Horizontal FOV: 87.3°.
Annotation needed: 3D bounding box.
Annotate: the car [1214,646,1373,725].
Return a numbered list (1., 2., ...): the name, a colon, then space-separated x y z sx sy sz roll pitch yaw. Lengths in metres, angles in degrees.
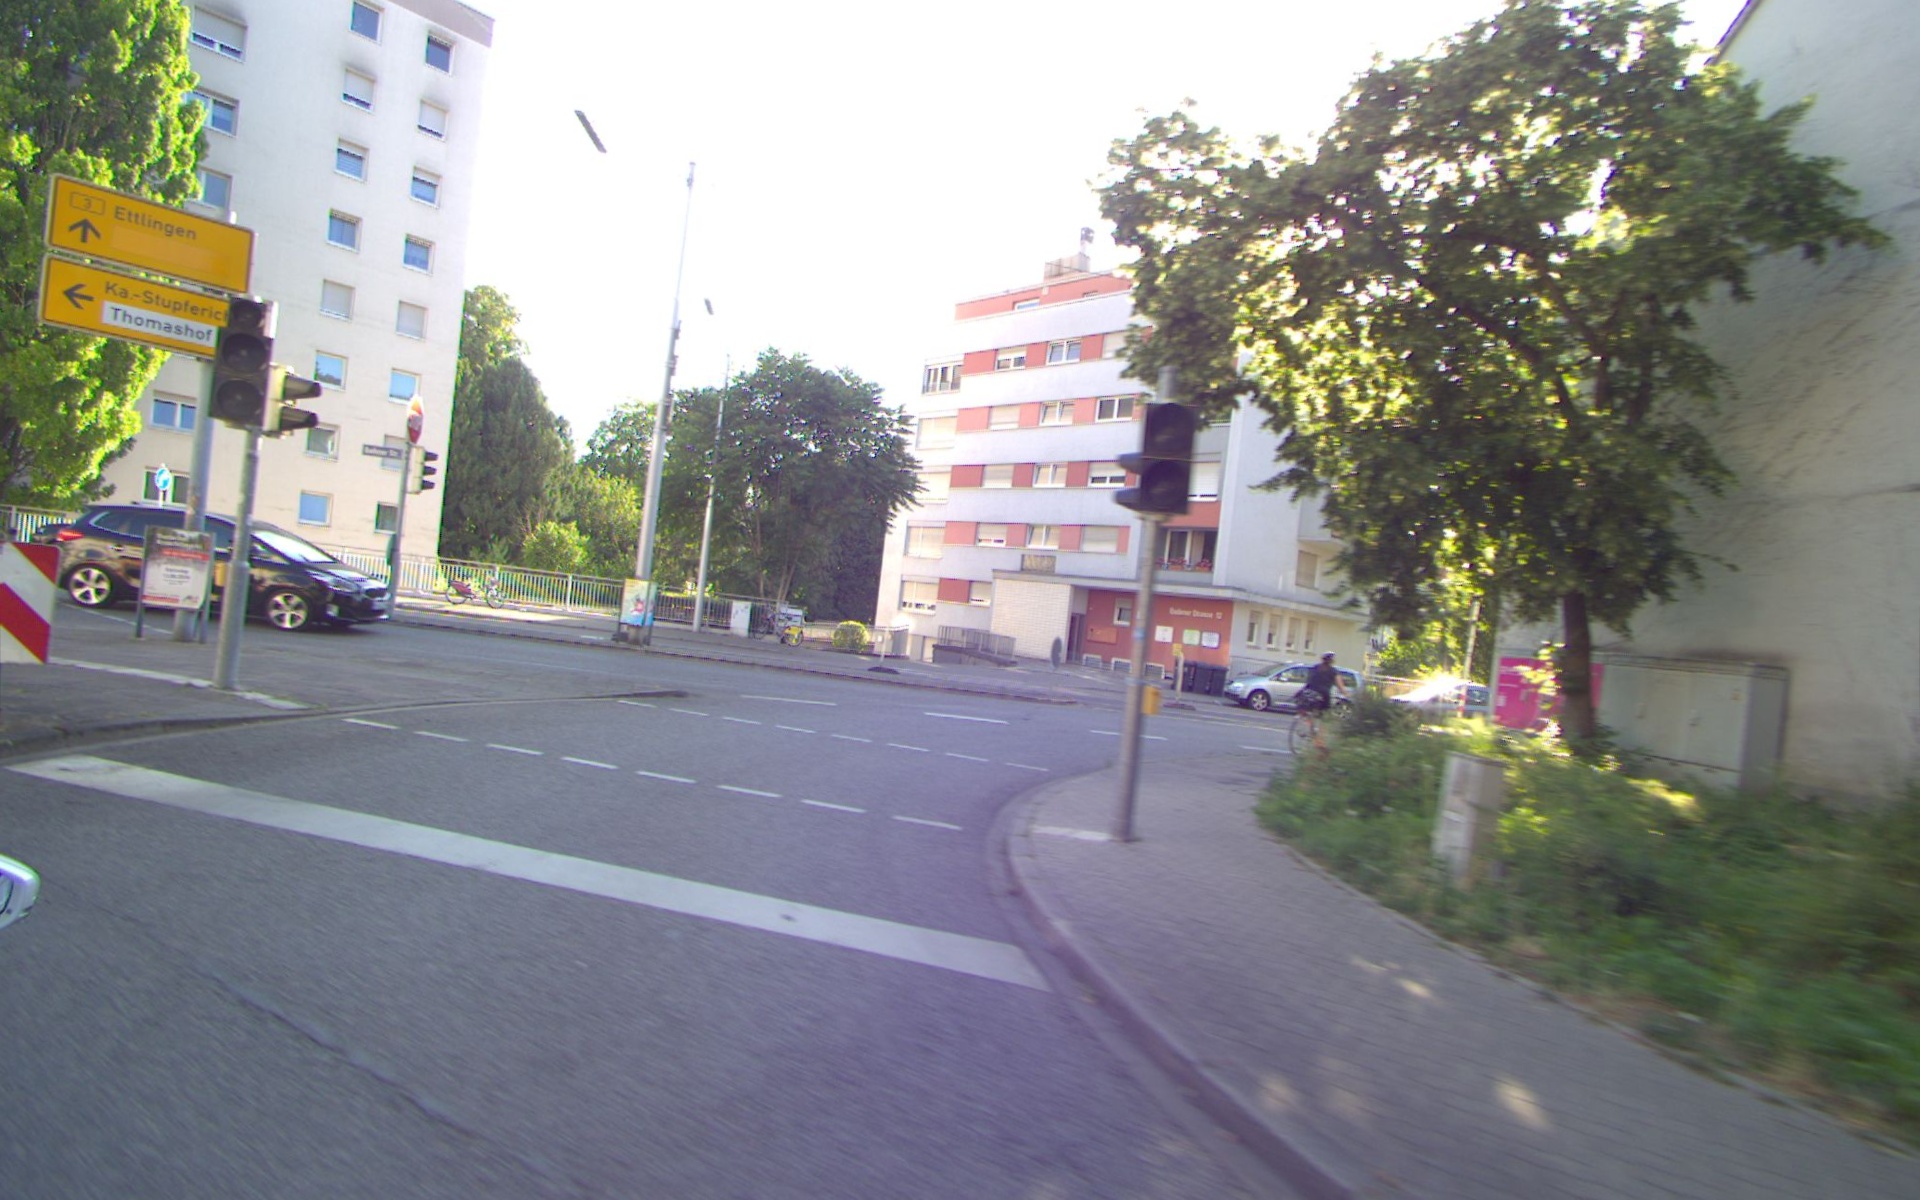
1. car: 10.458 2.658 31.767 4.151 1.801 2.001 8 -1 -1

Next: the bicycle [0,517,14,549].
1. bicycle: -28.319 -2.003 29.183 0.402 0.914 1.289 8 -1 2

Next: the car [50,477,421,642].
1. car: -11.186 -0.623 15.809 4.176 1.839 1.997 8 2 -4

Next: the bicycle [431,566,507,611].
1. bicycle: -15.121 -0.349 31.024 1.896 1.081 0.613 8 -1 -18

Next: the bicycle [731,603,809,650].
1. bicycle: -6.196 0.868 32.834 2.302 1.192 0.708 9 -1 -20

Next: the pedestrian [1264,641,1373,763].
1. pedestrian: 6.117 1.715 17.217 1.267 1.859 0.957 8 -1 -5

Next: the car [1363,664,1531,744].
1. car: 15.293 3.239 31.756 4.151 1.801 2.001 8 -1 -1

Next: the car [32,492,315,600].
1. car: -18.048 -1.168 23.366 4.590 1.688 1.997 7 -3 -13
